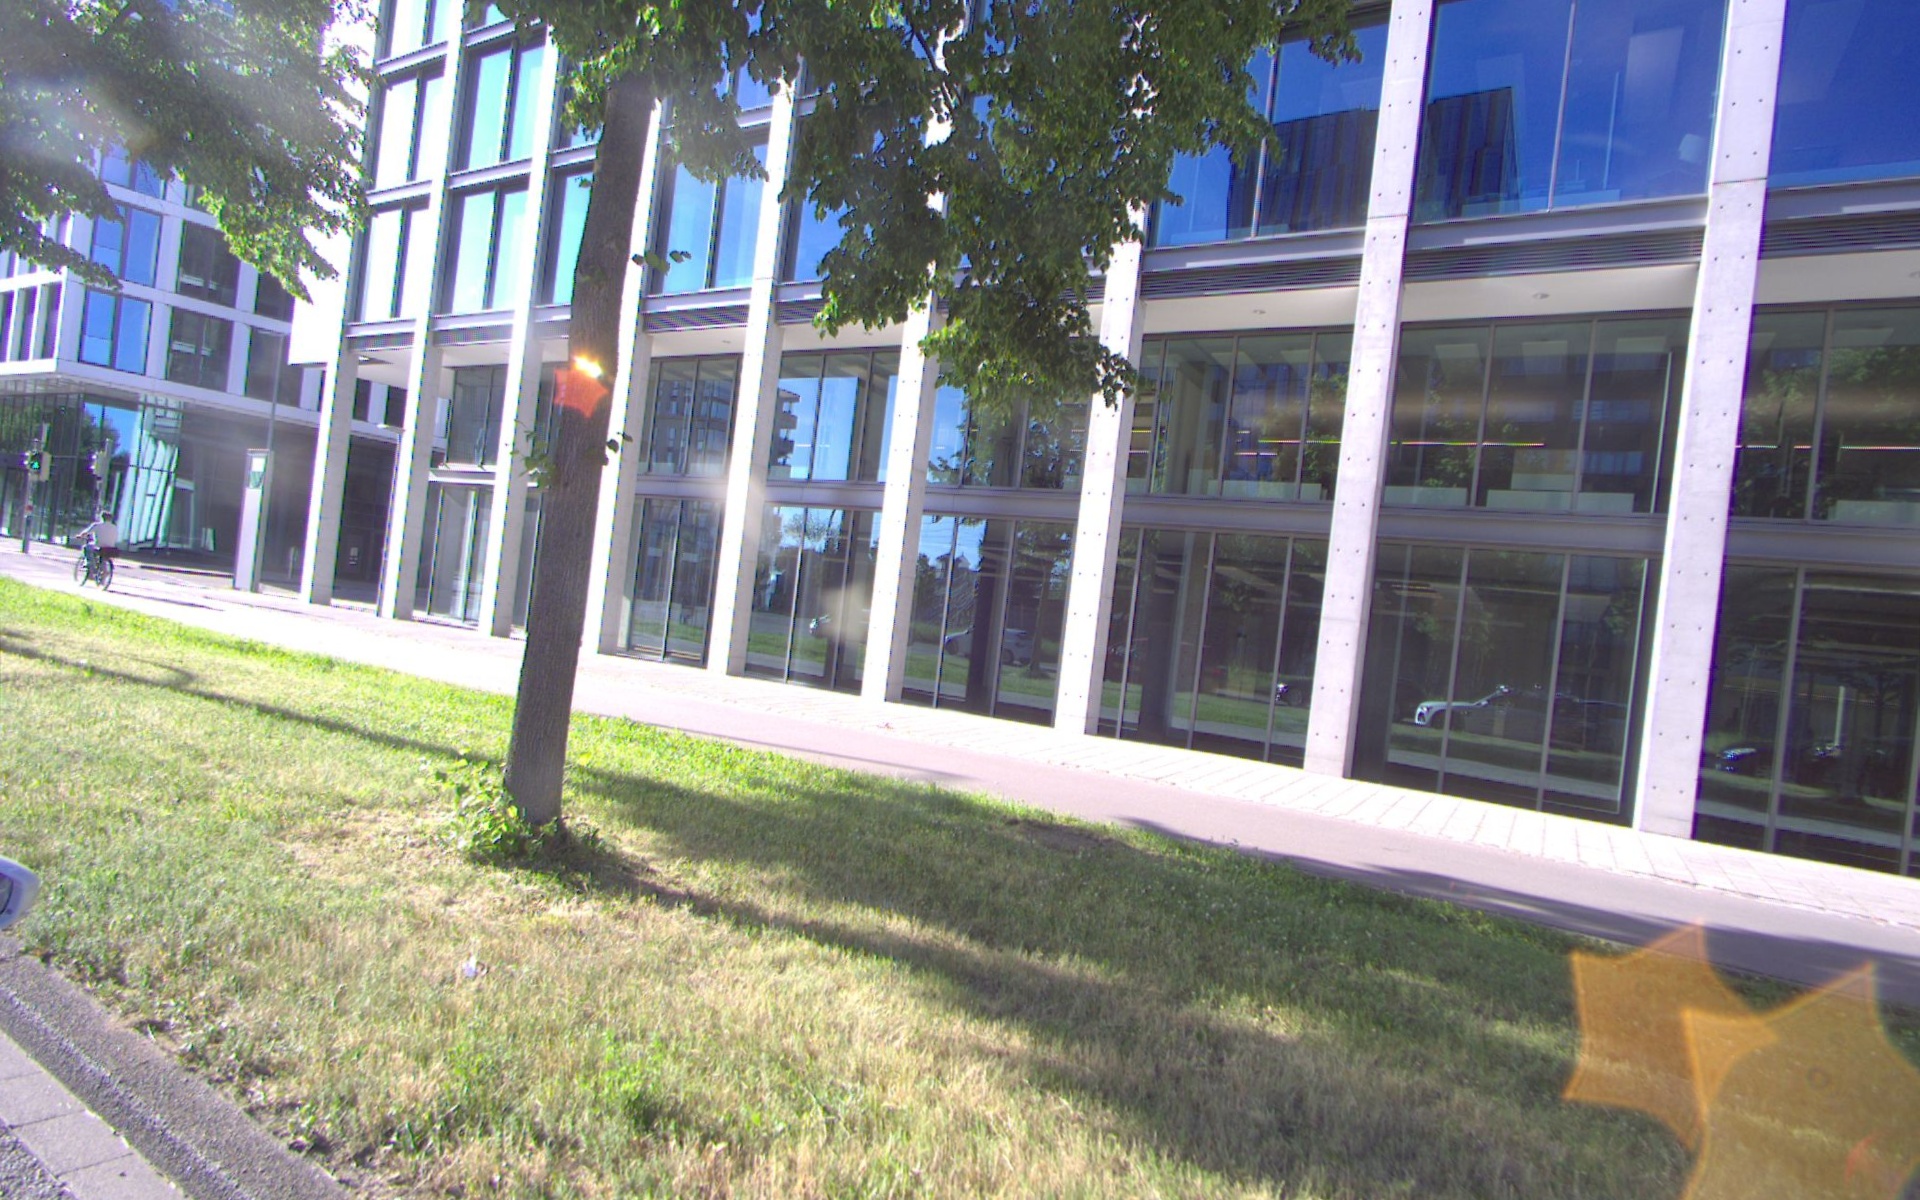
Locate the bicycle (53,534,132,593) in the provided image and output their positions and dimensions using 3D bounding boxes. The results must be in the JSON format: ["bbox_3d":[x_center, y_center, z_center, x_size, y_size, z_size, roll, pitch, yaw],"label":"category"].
[{"bbox_3d":[-19.652,-0.832,22.780,1.929,1.189,0.742,5,1,32],"label":"bicycle"}]

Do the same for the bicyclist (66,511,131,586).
[{"bbox_3d":[-19.382,-1.147,22.644,0.835,1.550,0.772,7,0,32],"label":"bicyclist"}]
